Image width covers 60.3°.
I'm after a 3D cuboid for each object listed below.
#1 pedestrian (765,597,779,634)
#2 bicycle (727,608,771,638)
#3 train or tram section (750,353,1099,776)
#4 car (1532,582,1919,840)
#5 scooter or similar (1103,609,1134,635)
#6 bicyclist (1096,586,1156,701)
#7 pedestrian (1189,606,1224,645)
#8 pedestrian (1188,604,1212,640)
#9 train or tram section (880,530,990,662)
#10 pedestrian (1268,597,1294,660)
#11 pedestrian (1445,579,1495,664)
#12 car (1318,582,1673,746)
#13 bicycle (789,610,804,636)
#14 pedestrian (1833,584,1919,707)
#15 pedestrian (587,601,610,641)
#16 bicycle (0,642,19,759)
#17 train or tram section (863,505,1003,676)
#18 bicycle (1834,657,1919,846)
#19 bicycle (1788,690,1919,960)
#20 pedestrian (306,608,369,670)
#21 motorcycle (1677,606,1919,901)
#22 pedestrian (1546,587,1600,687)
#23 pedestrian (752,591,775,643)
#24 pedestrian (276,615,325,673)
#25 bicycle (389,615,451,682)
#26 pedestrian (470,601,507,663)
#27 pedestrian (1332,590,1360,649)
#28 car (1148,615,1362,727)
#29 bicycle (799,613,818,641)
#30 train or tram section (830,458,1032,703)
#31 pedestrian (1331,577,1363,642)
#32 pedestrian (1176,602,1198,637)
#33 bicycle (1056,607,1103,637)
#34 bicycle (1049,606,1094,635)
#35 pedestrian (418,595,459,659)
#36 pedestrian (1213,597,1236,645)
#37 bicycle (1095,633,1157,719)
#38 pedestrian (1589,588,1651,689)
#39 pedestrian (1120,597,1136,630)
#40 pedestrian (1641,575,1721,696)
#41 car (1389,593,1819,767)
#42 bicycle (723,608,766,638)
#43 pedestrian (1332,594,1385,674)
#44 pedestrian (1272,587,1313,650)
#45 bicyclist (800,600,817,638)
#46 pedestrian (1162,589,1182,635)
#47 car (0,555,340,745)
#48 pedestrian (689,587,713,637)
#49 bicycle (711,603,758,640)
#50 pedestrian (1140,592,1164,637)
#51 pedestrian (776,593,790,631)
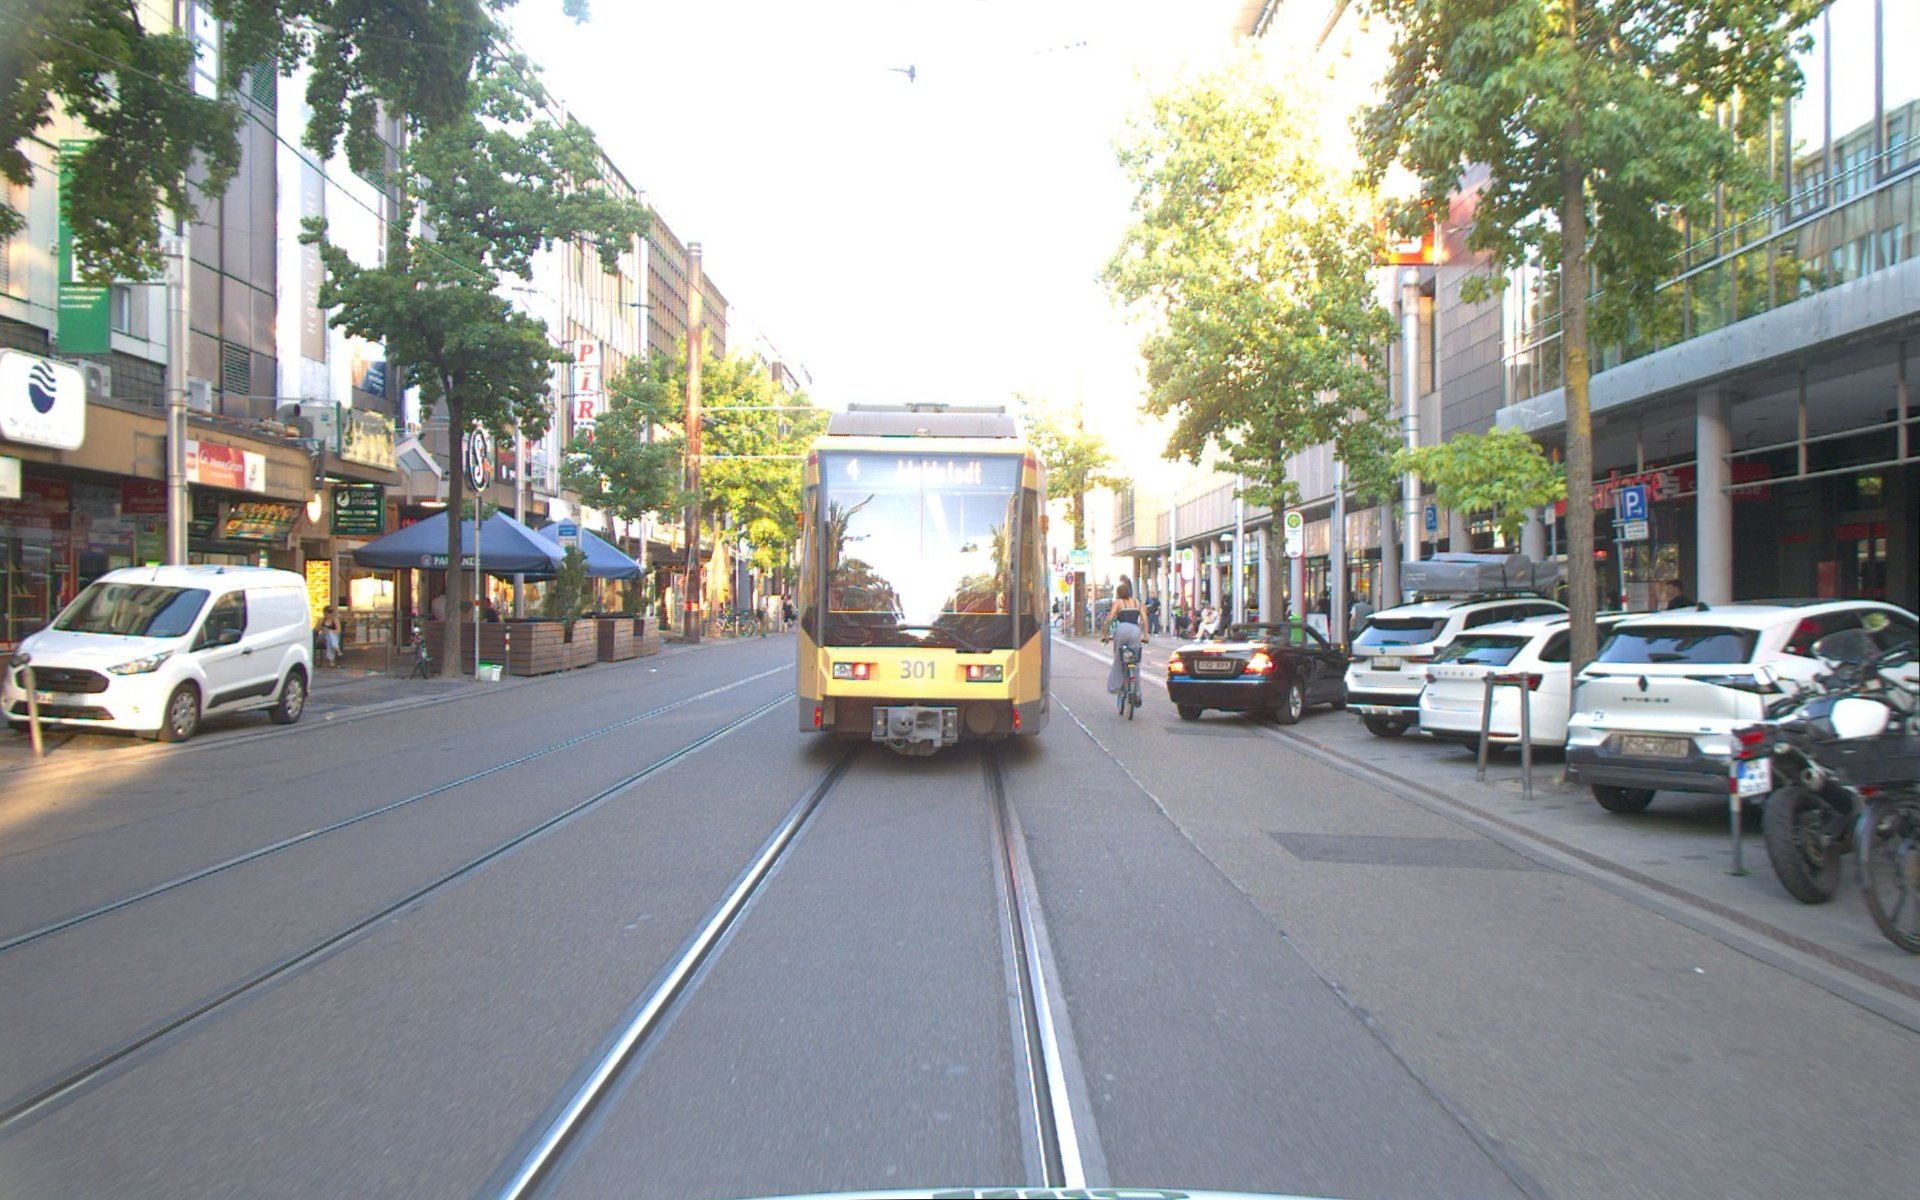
[{"bbox_3d":[-8.724,0.724,76.842,0.563,1.716,0.551,3,-1,-10],"label":"pedestrian"},{"bbox_3d":[-8.577,0.936,67.317,1.700,1.146,0.612,3,-1,-7],"label":"bicycle"},{"bbox_3d":[-0.359,-0.259,19.248,2.955,3.585,10.368,0,-1,-1],"label":"train or tram section"},{"bbox_3d":[6.638,0.723,12.877,4.290,1.590,1.856,-3,0,-33],"label":"car"},{"bbox_3d":[7.481,1.037,77.945,1.356,1.232,0.514,-1,-1,-14],"label":"scooter or similar"},{"bbox_3d":[2.301,0.599,22.965,0.712,1.553,0.733,2,-1,-1],"label":"bicyclist"},{"bbox_3d":[8.949,0.918,60.048,1.089,1.351,0.926,-2,0,0],"label":"pedestrian"},{"bbox_3d":[9.258,0.845,63.818,0.789,1.351,0.626,-2,1,0],"label":"pedestrian"},{"bbox_3d":[-0.758,-0.086,50.948,2.982,3.585,10.528,1,0,-1],"label":"train or tram section"},{"bbox_3d":[9.865,0.861,50.783,0.584,1.871,0.829,-2,1,0],"label":"pedestrian"},{"bbox_3d":[11.488,0.466,37.263,0.815,1.868,0.944,-1,1,0],"label":"pedestrian"},{"bbox_3d":[6.580,0.713,20.228,4.154,1.666,1.900,-3,0,-32],"label":"car"},{"bbox_3d":[-7.469,1.057,75.765,0.599,1.146,2.249,3,-1,-5],"label":"bicycle"},{"bbox_3d":[11.809,0.579,21.269,0.646,1.554,0.973,0,-1,2],"label":"pedestrian"},{"bbox_3d":[-12.475,0.728,57.106,0.562,1.342,0.725,2,-1,0],"label":"pedestrian"},{"bbox_3d":[-9.610,0.936,14.837,0.599,1.087,2.016,0,0,29],"label":"bicycle"},{"bbox_3d":[-0.630,-0.181,40.262,2.942,3.585,10.843,0,0,-1],"label":"train or tram section"},{"bbox_3d":[6.688,0.963,10.931,1.729,1.137,0.908,-1,0,-35],"label":"bicycle"},{"bbox_3d":[4.958,1.045,8.137,1.727,1.137,0.798,-1,0,-32],"label":"bicycle"},{"bbox_3d":[-12.012,0.754,31.938,0.804,1.140,0.779,3,-1,10],"label":"pedestrian"},{"bbox_3d":[5.112,0.818,9.835,2.189,1.497,0.783,-2,1,-45],"label":"motorcycle"},{"bbox_3d":[10.356,0.608,27.940,0.584,1.644,0.755,-2,1,-1],"label":"pedestrian"},{"bbox_3d":[-7.447,0.639,62.684,0.736,1.913,0.575,2,-1,-4],"label":"pedestrian"},{"bbox_3d":[-12.238,0.822,30.692,0.444,1.047,0.661,3,-1,30],"label":"pedestrian"},{"bbox_3d":[-9.846,0.861,30.112,0.801,1.122,2.148,0,0,-26],"label":"bicycle"},{"bbox_3d":[-10.084,0.685,35.370,0.547,1.278,0.606,3,-1,1],"label":"pedestrian"},{"bbox_3d":[11.167,0.558,47.879,0.584,1.644,0.829,-2,1,0],"label":"pedestrian"},{"bbox_3d":[4.358,0.945,23.867,1.767,1.372,4.439,0,0,28],"label":"car"},{"bbox_3d":[-5.804,1.029,63.353,0.628,1.041,1.588,2,0,-2],"label":"bicycle"},{"bbox_3d":[-0.486,-0.259,29.637,2.946,3.585,10.400,1,0,-1],"label":"train or tram section"},{"bbox_3d":[9.939,0.241,42.495,0.584,1.644,0.755,-2,1,0],"label":"pedestrian"},{"bbox_3d":[9.010,0.757,65.624,0.724,1.351,0.720,-2,1,1],"label":"pedestrian"},{"bbox_3d":[6.015,1.111,83.371,2.282,1.497,0.790,1,-1,-4],"label":"bicycle"},{"bbox_3d":[5.881,1.110,87.462,2.282,1.497,0.790,1,-1,-4],"label":"bicycle"},{"bbox_3d":[-10.768,0.548,34.179,0.591,1.278,0.560,3,-1,2],"label":"pedestrian"},{"bbox_3d":[9.375,0.744,58.625,0.687,1.666,0.646,-2,1,0],"label":"pedestrian"},{"bbox_3d":[2.290,1.031,23.034,0.642,1.079,2.057,2,0,0],"label":"bicycle"},{"bbox_3d":[11.079,0.634,27.777,0.584,1.644,1.021,-2,1,-1],"label":"pedestrian"},{"bbox_3d":[8.720,0.703,85.950,0.687,1.714,0.680,-2,1,0],"label":"pedestrian"},{"bbox_3d":[11.160,0.539,25.611,0.859,1.813,0.755,-2,1,-1],"label":"pedestrian"},{"bbox_3d":[6.832,0.785,17.552,4.116,1.483,1.850,-3,0,-24],"label":"car"},{"bbox_3d":[-9.088,0.967,69.720,1.699,1.146,0.563,3,-1,-4],"label":"bicycle"},{"bbox_3d":[8.288,0.694,34.425,0.859,1.609,0.755,1,1,-1],"label":"pedestrian"},{"bbox_3d":[10.251,0.561,50.949,1.031,1.909,0.929,-2,1,0],"label":"pedestrian"},{"bbox_3d":[-5.806,0.722,63.421,0.608,1.441,0.699,1,-1,-3],"label":"bicyclist"},{"bbox_3d":[8.374,0.477,65.382,0.733,1.813,0.891,1,-1,3],"label":"pedestrian"},{"bbox_3d":[-8.855,0.532,18.762,1.757,1.850,4.516,2,-1,2],"label":"car"},{"bbox_3d":[-10.820,0.508,69.105,0.831,2.049,0.921,1,-1,0],"label":"pedestrian"},{"bbox_3d":[-8.938,0.848,65.545,1.766,1.384,0.658,3,-1,-13],"label":"bicycle"},{"bbox_3d":[7.971,0.606,68.582,0.870,1.813,0.751,1,-1,-2],"label":"pedestrian"},{"bbox_3d":[-8.129,0.569,76.141,0.540,1.716,0.575,2,-1,-4],"label":"pedestrian"}]
